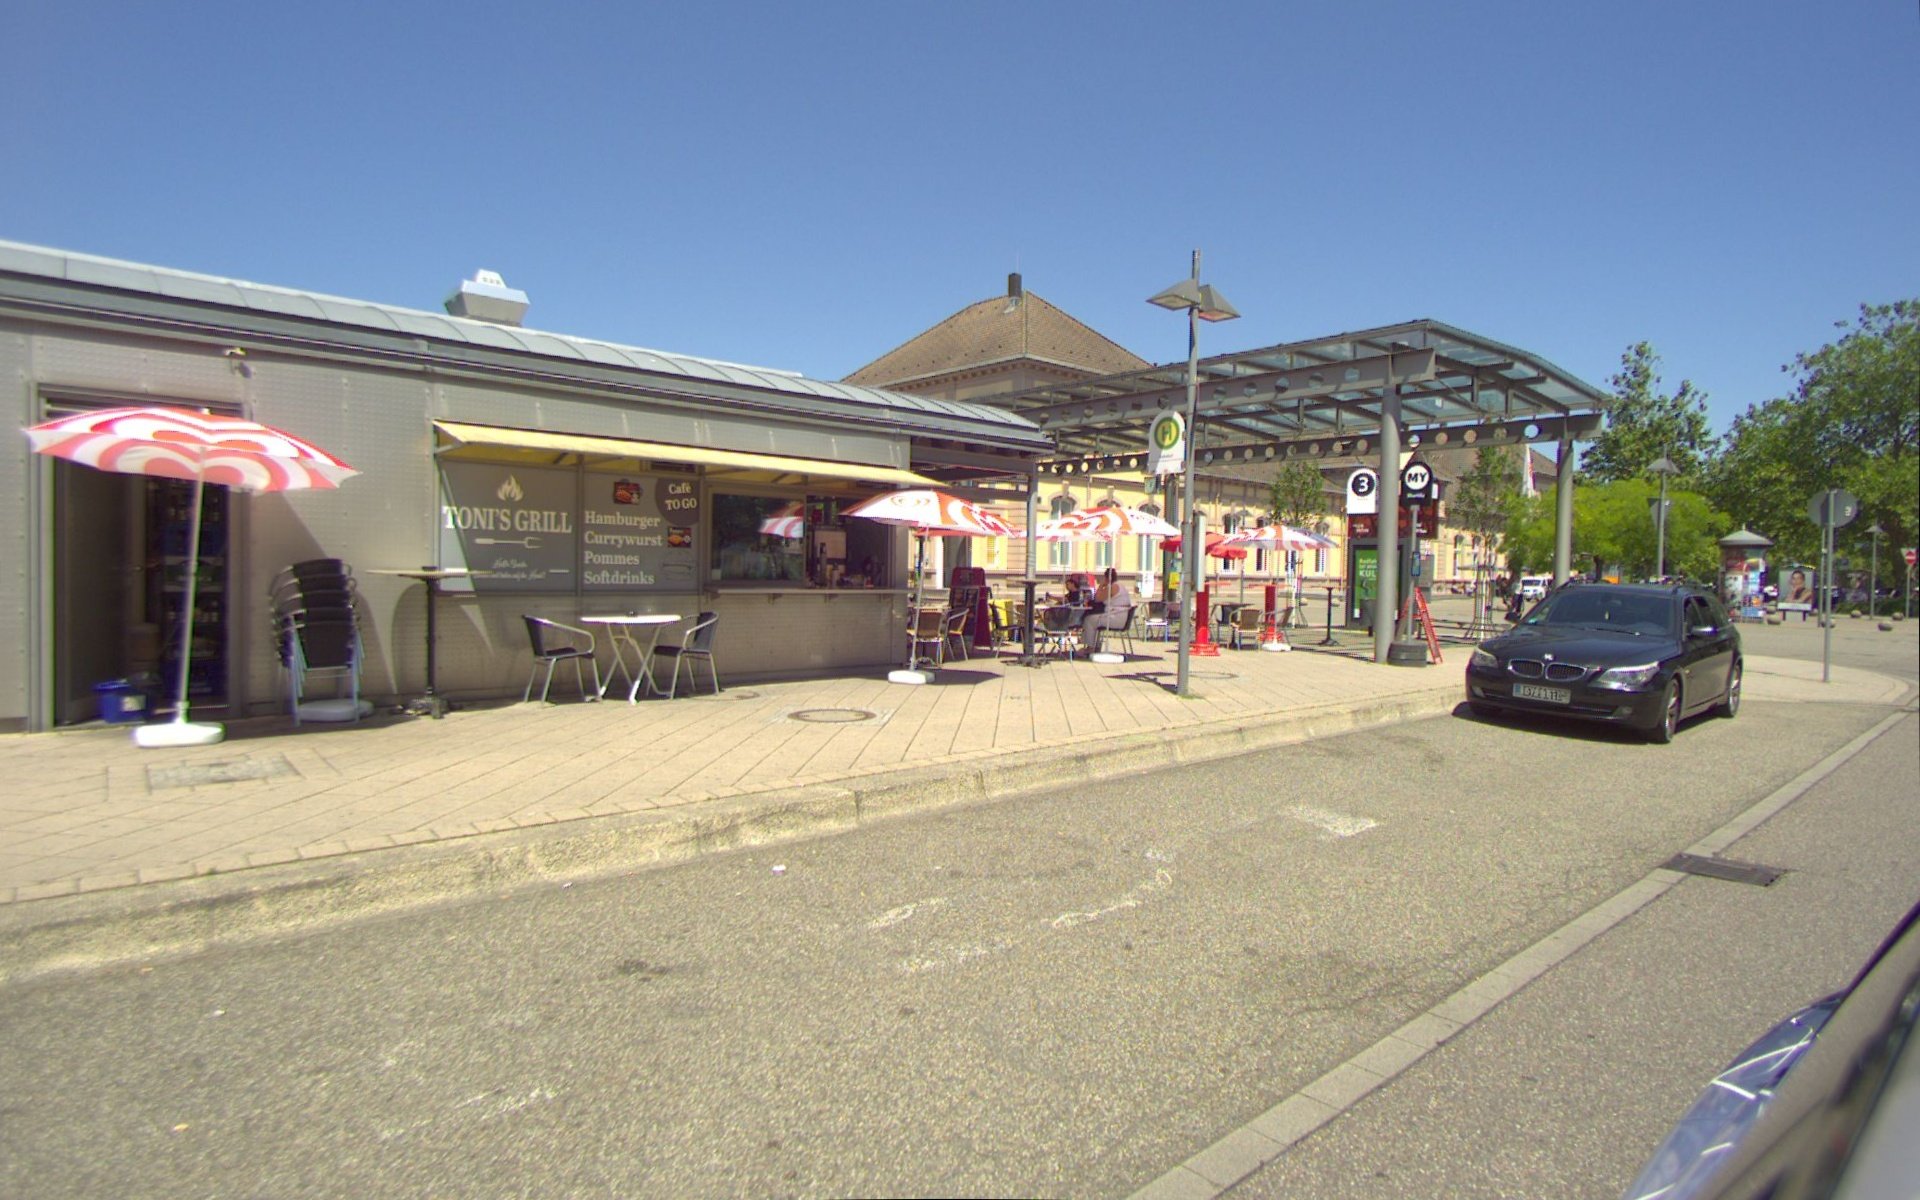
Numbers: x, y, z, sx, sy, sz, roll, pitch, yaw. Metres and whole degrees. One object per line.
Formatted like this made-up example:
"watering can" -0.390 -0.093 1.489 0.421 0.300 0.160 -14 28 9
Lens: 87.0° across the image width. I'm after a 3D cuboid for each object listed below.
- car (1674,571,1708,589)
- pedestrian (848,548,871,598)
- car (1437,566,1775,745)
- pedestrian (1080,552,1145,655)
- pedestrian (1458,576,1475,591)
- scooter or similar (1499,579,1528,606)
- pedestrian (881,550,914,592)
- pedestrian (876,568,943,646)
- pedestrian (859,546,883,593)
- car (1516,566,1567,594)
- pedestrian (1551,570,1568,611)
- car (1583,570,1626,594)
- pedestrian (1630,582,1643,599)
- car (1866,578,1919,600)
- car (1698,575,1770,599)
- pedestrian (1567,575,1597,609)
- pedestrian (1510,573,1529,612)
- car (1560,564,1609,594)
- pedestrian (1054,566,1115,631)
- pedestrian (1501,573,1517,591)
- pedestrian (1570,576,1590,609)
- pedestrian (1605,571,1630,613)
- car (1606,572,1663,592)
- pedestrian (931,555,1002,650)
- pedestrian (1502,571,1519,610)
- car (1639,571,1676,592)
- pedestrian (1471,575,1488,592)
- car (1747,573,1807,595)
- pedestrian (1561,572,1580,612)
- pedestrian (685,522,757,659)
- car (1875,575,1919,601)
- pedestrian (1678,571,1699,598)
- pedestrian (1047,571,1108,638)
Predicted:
"car" 76.941 -2.061 106.530 4.173 1.812 1.997 -2 1 -40
"pedestrian" -3.683 -0.995 37.149 0.591 1.831 0.624 2 1 32
"car" 7.292 0.438 11.217 4.644 1.477 1.931 -1 5 -42
"pedestrian" 2.206 0.032 14.620 0.881 1.435 0.686 1 1 12
"pedestrian" 37.756 -1.247 75.502 0.879 1.093 0.838 5 4 45
"scooter or similar" 23.944 -0.327 43.788 1.024 1.153 0.290 2 2 42
"pedestrian" -2.798 -1.298 45.309 1.065 1.870 1.081 -1 2 -43
"pedestrian" -0.781 0.094 15.875 0.882 1.175 0.685 1 1 15
"pedestrian" -3.550 -1.213 40.360 0.621 1.831 0.689 0 2 -42
"car" 41.617 -1.423 72.412 5.053 1.889 1.811 0 1 -44
"pedestrian" 26.190 -0.415 44.200 0.505 1.761 0.567 1 1 20
"car" 52.448 -1.471 82.296 2.074 1.863 4.764 1 1 43
"pedestrian" 56.367 -0.793 84.322 0.797 1.442 0.681 2 2 39
"car" 66.531 -0.747 70.526 4.738 1.434 1.768 2 2 30
"car" 55.819 -0.948 73.095 1.767 1.561 4.530 0 3 2
"pedestrian" 26.728 -0.361 43.507 0.901 1.403 0.938 1 2 19
"pedestrian" 24.903 -0.338 45.034 0.616 1.706 0.583 2 2 37
"car" 47.705 -1.576 77.240 2.087 2.151 5.734 1 1 43
"pedestrian" 2.539 -0.044 20.700 0.878 1.293 0.848 0 2 -37
"pedestrian" 44.316 -1.485 81.658 0.879 1.388 0.838 5 3 45
"pedestrian" 26.042 -0.329 42.510 0.592 1.381 0.596 2 1 21
"pedestrian" 28.136 -0.349 43.342 0.683 1.785 0.583 1 1 12
"car" 74.524 -1.951 111.817 2.017 2.147 4.955 -1 1 -42
"pedestrian" 0.094 0.015 14.691 0.882 1.328 0.685 1 1 15
"pedestrian" 24.278 -0.409 44.663 0.552 1.706 0.580 2 2 37
"car" 62.981 -1.676 91.321 1.997 1.863 5.235 0 1 43
"pedestrian" 38.407 -1.235 74.825 0.879 1.176 0.838 5 4 45
"car" 67.880 -1.336 84.167 1.768 1.624 4.062 0 3 3
"pedestrian" 26.892 -0.366 44.584 0.578 1.761 0.595 1 1 23
"pedestrian" -3.179 -0.134 13.455 0.695 1.759 0.687 -1 2 -41
"car" 60.811 -0.761 65.556 3.047 1.613 1.603 0 2 -34
"pedestrian" 47.821 -1.024 66.422 0.759 1.738 0.815 1 1 2
"pedestrian" 2.150 0.068 18.530 0.878 1.175 0.688 0 2 -37
